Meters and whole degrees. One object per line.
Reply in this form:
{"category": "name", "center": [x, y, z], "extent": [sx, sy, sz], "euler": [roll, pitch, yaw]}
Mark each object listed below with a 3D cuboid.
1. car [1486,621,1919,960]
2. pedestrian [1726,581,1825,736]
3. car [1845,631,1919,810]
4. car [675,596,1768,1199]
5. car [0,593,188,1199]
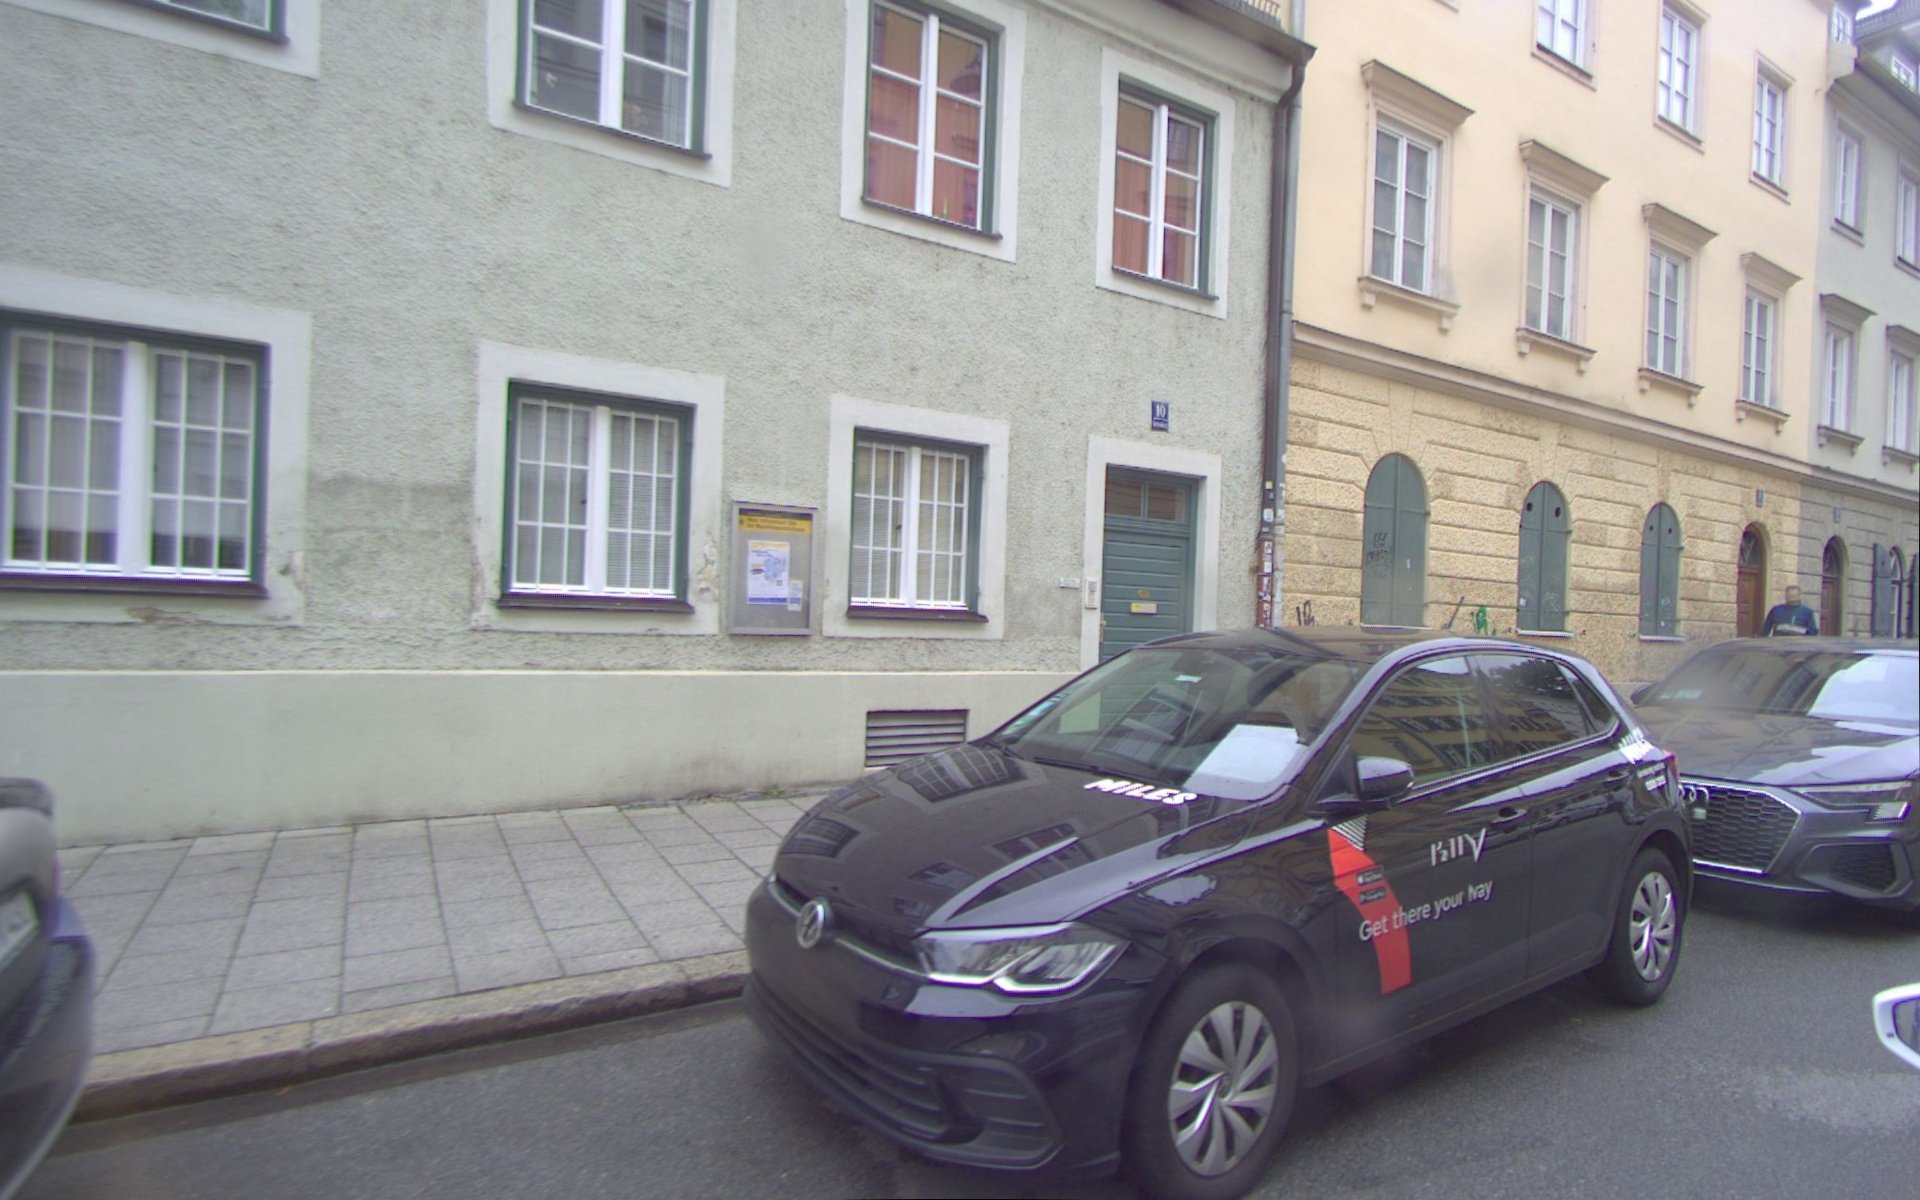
{"category": "car", "center": [5.436, 0.921, 6.379], "extent": [4.223, 1.420, 1.846], "euler": [2, 1, -33]}
{"category": "pedestrian", "center": [11.160, 0.775, 13.758], "extent": [0.741, 2.040, 0.802], "euler": [1, 0, -29]}
{"category": "car", "center": [9.795, 1.059, 8.877], "extent": [4.223, 1.420, 1.846], "euler": [2, 1, -33]}
{"category": "car", "center": [1.267, 0.782, 3.964], "extent": [4.226, 1.420, 1.845], "euler": [2, 1, -35]}
{"category": "car", "center": [-3.568, 0.669, 0.990], "extent": [4.221, 1.420, 1.847], "euler": [2, 1, -32]}
